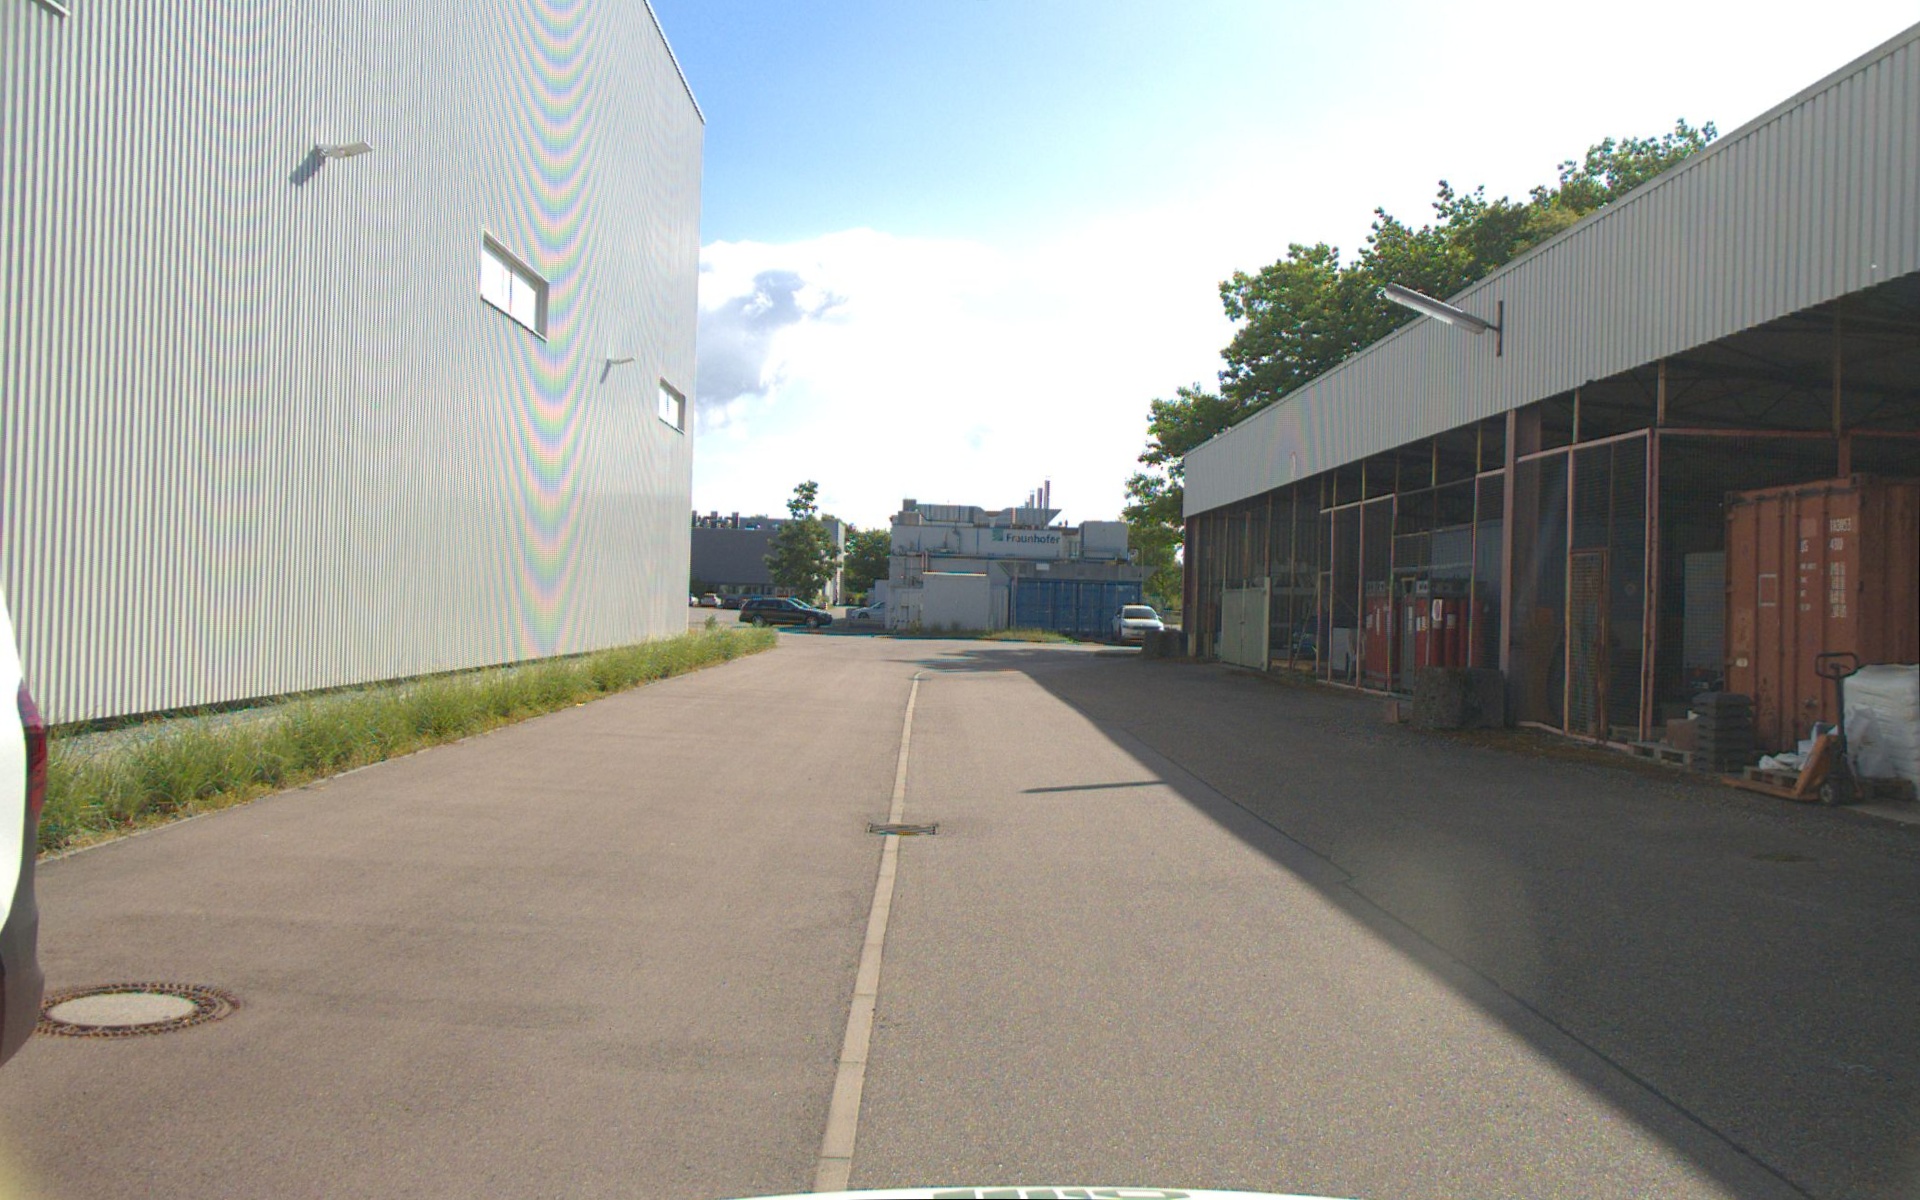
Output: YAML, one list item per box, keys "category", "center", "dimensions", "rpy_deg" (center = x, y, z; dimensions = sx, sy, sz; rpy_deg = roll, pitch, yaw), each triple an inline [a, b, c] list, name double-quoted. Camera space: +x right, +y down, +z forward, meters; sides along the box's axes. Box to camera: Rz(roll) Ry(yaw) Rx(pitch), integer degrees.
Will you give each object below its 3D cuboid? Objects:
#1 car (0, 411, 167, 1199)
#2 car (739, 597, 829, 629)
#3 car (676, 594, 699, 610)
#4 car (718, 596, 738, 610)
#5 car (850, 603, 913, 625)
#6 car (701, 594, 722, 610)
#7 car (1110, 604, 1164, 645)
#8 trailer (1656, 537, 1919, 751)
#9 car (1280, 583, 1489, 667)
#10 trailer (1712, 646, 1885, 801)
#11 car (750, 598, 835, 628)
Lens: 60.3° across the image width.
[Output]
- category: "car"
  center: [-3.011, 0.442, 2.121]
  dimensions: [1.747, 1.847, 4.600]
  rpy_deg: [3, -1, -1]
- category: "car"
  center: [-8.909, 0.649, 83.940]
  dimensions: [4.358, 1.558, 1.823]
  rpy_deg: [0, -1, -2]
- category: "car"
  center: [-29.663, 0.229, 180.215]
  dimensions: [1.937, 1.707, 3.997]
  rpy_deg: [0, -1, -3]
- category: "car"
  center: [-25.066, 0.316, 178.914]
  dimensions: [1.821, 1.521, 4.027]
  rpy_deg: [0, -1, -3]
- category: "car"
  center: [-5.296, 0.952, 111.917]
  dimensions: [4.216, 1.483, 1.823]
  rpy_deg: [0, -1, -2]
- category: "car"
  center: [-27.130, 0.221, 180.702]
  dimensions: [1.926, 1.742, 4.027]
  rpy_deg: [0, -1, -3]
- category: "car"
  center: [7.656, 1.031, 71.860]
  dimensions: [1.939, 1.630, 4.377]
  rpy_deg: [0, 1, 0]
- category: "trailer"
  center: [9.260, 0.453, 18.275]
  dimensions: [1.881, 2.181, 2.802]
  rpy_deg: [0, 0, -3]
- category: "car"
  center: [10.612, 0.635, 41.470]
  dimensions: [4.681, 1.950, 1.996]
  rpy_deg: [1, -1, -9]
- category: "trailer"
  center: [6.688, 0.952, 13.266]
  dimensions: [0.541, 1.138, 1.546]
  rpy_deg: [0, -1, -3]
- category: "car"
  center: [-8.840, 0.686, 87.588]
  dimensions: [4.358, 1.558, 1.823]
  rpy_deg: [0, -1, -2]
